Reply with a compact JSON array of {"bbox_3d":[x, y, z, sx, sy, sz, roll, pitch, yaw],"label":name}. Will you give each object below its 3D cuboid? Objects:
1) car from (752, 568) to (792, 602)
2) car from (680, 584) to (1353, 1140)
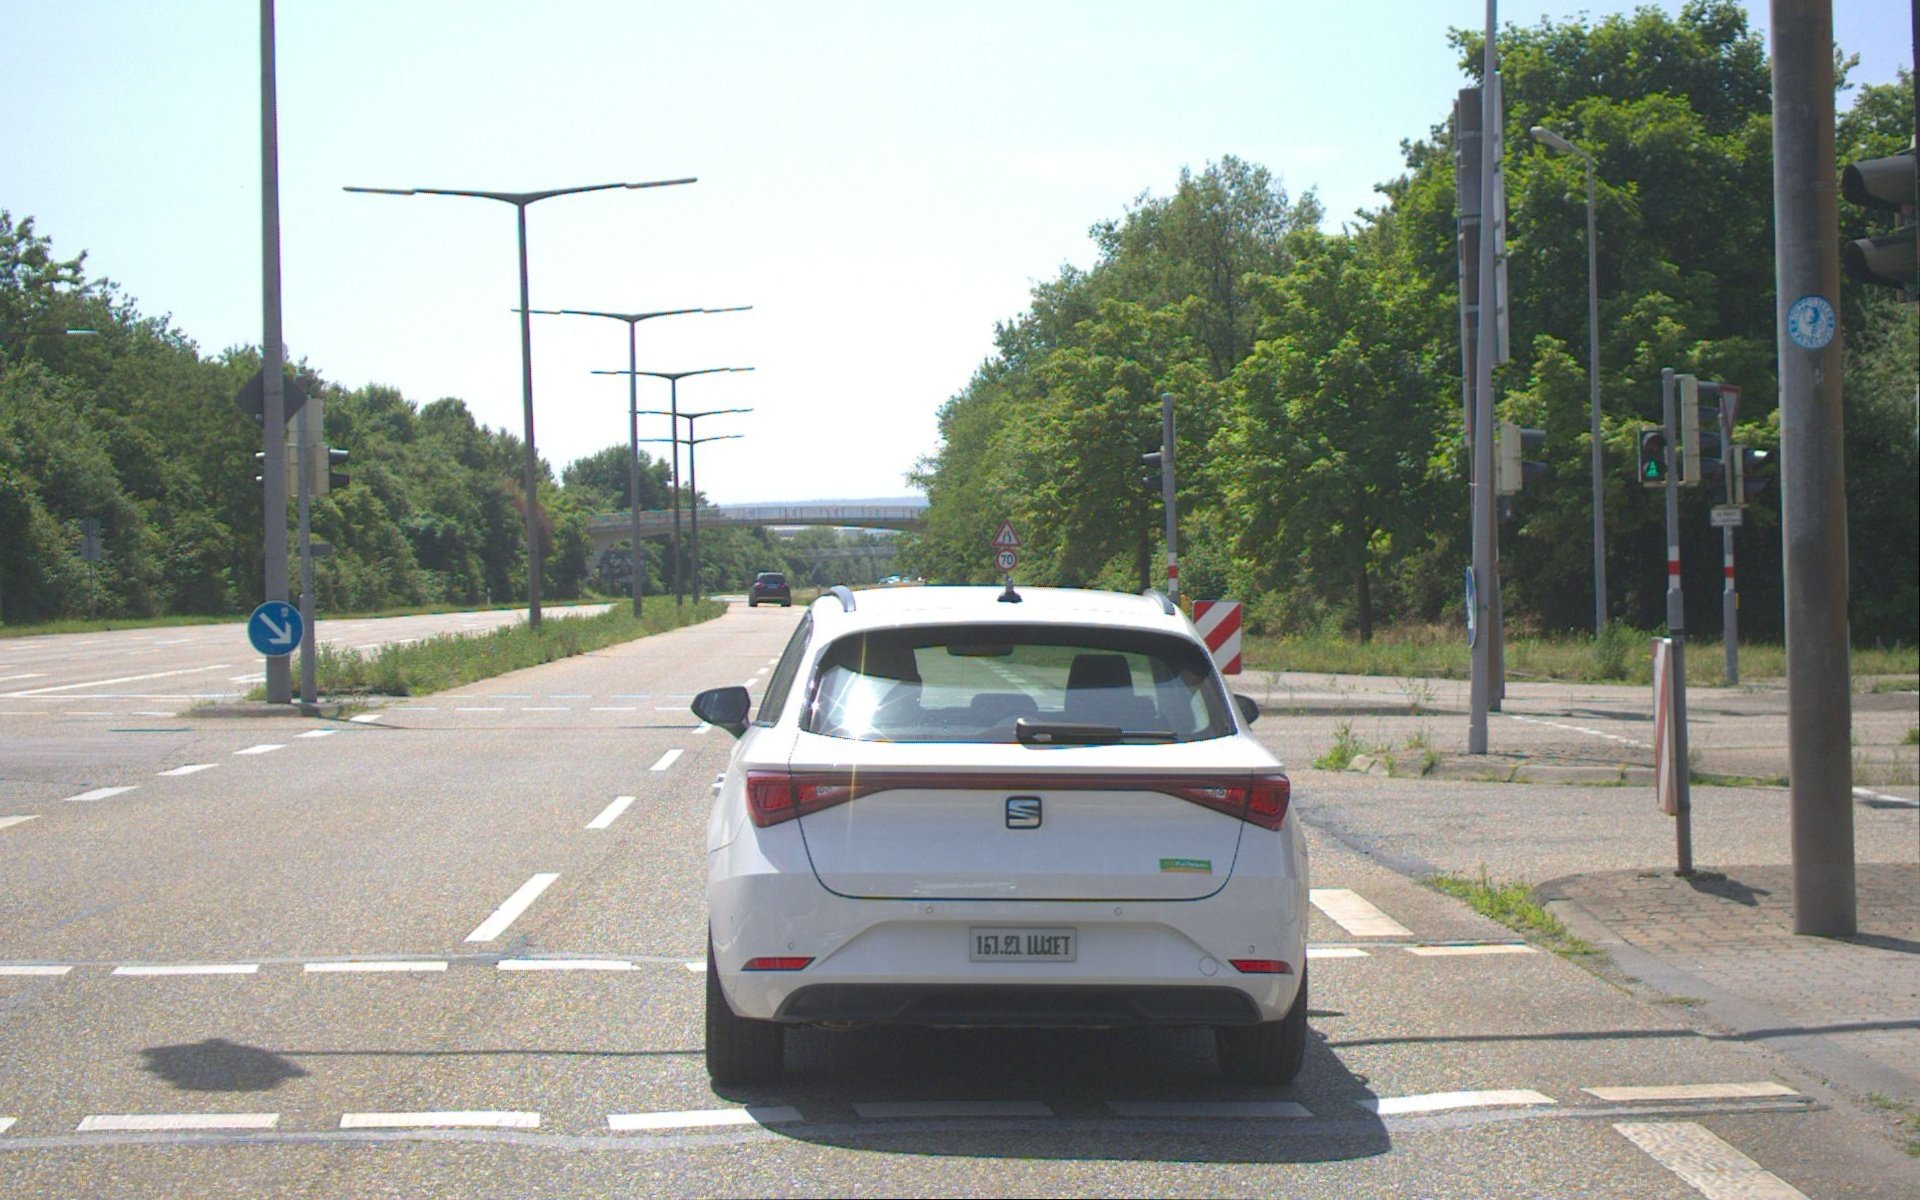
[{"bbox_3d":[-10.119,-0.819,185.080,1.855,1.703,4.000,-2,1,0],"label":"car"},{"bbox_3d":[0.117,0.688,10.810,1.734,1.424,3.694,1,0,-1],"label":"car"}]
